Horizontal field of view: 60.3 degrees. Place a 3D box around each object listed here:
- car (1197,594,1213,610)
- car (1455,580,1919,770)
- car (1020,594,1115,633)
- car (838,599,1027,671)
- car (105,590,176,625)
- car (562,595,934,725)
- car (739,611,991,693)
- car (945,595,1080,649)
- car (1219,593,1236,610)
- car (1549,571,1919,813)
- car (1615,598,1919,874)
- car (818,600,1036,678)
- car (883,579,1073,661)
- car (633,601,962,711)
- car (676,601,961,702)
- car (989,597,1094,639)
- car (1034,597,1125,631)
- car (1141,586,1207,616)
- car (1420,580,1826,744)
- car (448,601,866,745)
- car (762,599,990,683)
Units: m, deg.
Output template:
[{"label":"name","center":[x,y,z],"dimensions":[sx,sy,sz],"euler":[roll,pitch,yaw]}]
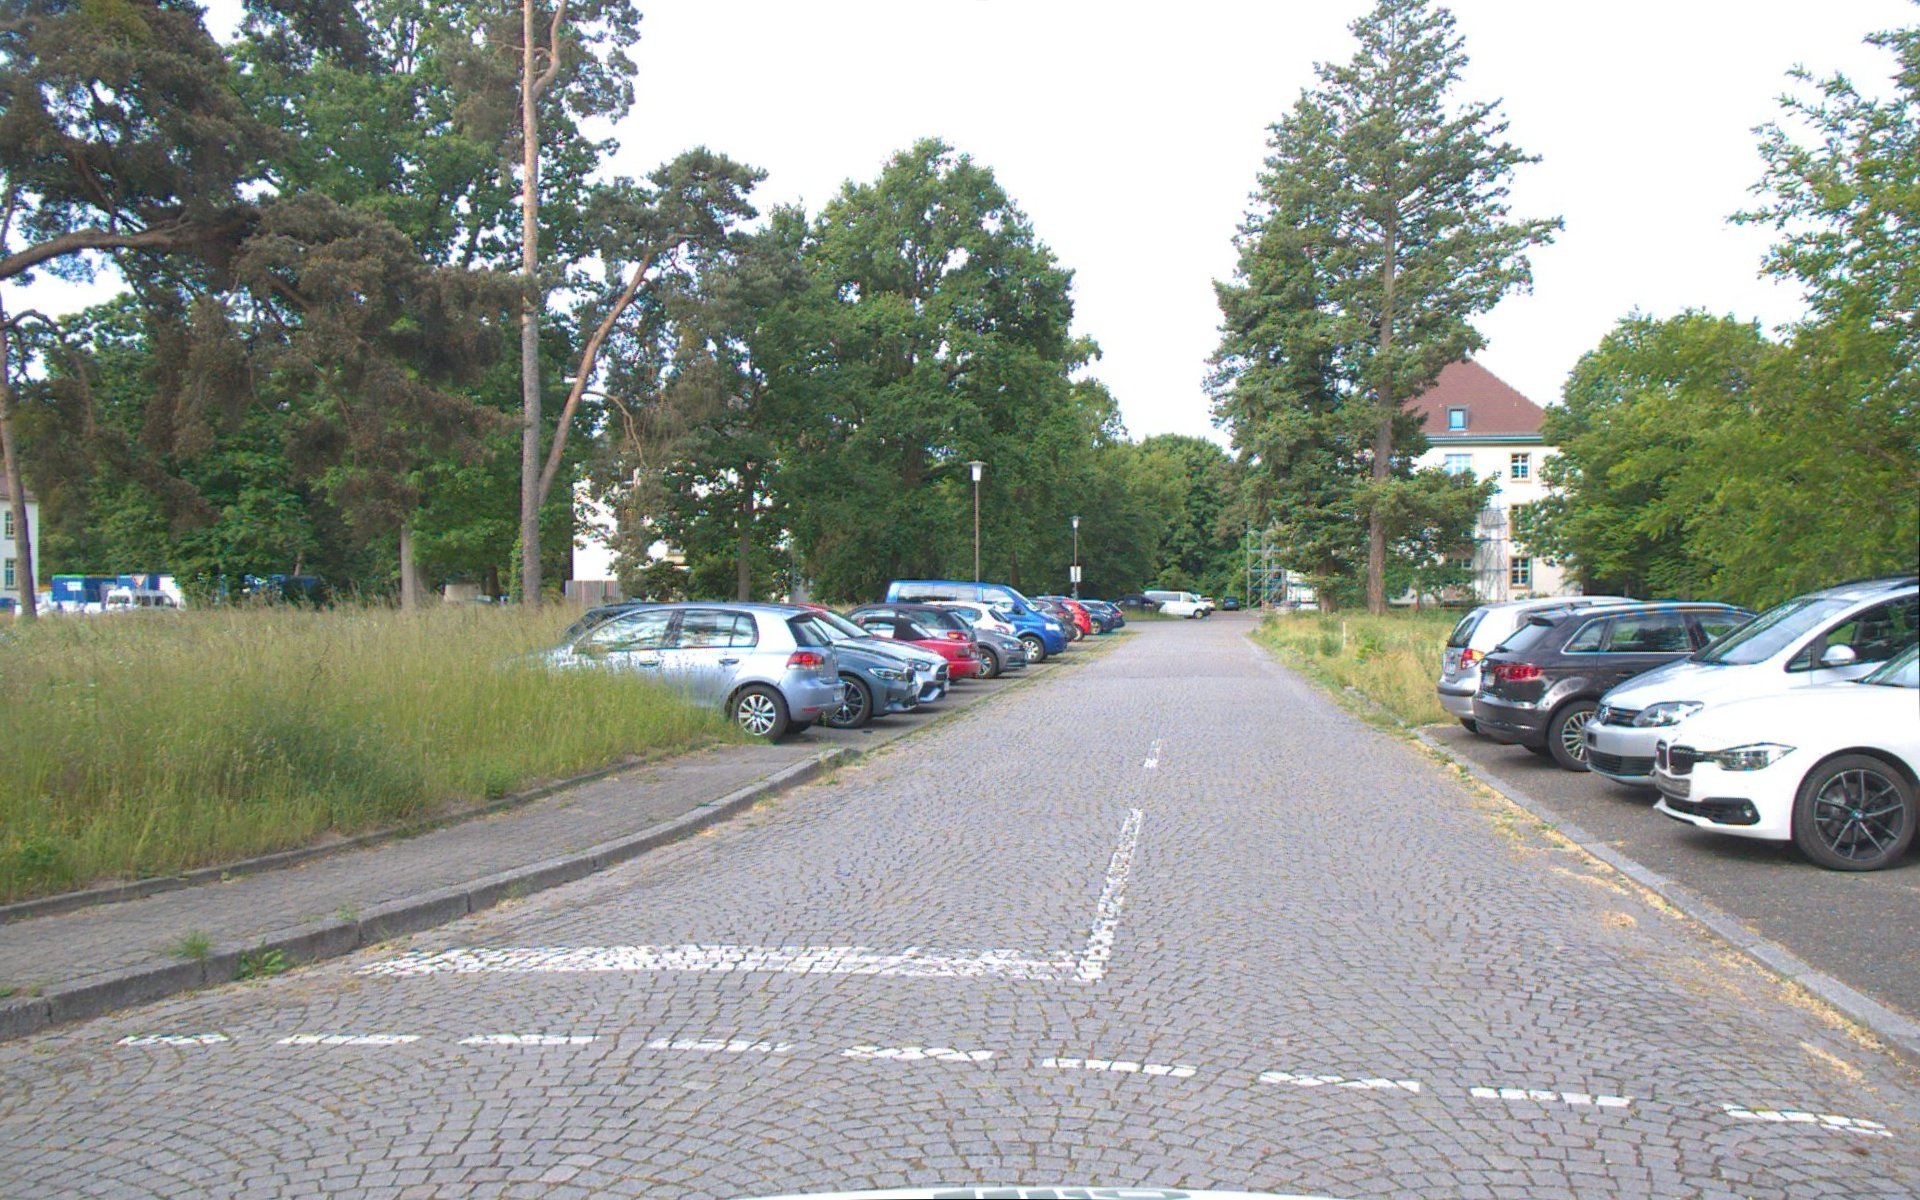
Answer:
[{"label":"car","center":[27.965,0.236,188.887],"dimensions":[1.752,1.665,4.064],"euler":[0,-1,7]},{"label":"car","center":[6.952,0.655,15.237],"dimensions":[4.273,1.430,1.798],"euler":[-3,1,7]},{"label":"car","center":[4.635,0.549,71.213],"dimensions":[3.985,1.632,1.789],"euler":[0,0,7]},{"label":"car","center":[-0.576,0.745,36.840],"dimensions":[3.919,1.528,1.844],"euler":[0,0,10]},{"label":"car","center":[-52.964,0.501,106.960],"dimensions":[2.018,2.132,4.348],"euler":[-1,-2,8]},{"label":"car","center":[-2.625,0.732,21.151],"dimensions":[4.406,1.564,1.871],"euler":[0,-1,5]},{"label":"car","center":[-1.595,0.866,28.462],"dimensions":[4.043,1.305,1.765],"euler":[0,0,8]},{"label":"car","center":[1.634,0.651,50.850],"dimensions":[3.981,1.602,1.956],"euler":[0,0,7]},{"label":"car","center":[30.552,0.179,188.833],"dimensions":[1.752,1.750,4.064],"euler":[0,-1,7]},{"label":"car","center":[6.927,0.605,12.523],"dimensions":[4.239,1.602,1.828],"euler":[-3,-1,3]},{"label":"car","center":[6.552,0.693,9.971],"dimensions":[4.454,1.450,1.828],"euler":[-3,-1,5]},{"label":"car","center":[-0.650,0.769,33.952],"dimensions":[4.212,1.506,1.732],"euler":[0,0,10]},{"label":"car","center":[0.497,0.484,42.043],"dimensions":[4.609,2.015,2.040],"euler":[0,0,8]},{"label":"car","center":[-2.279,0.769,23.816],"dimensions":[4.342,1.481,1.951],"euler":[0,-1,9]},{"label":"car","center":[-2.181,0.776,26.137],"dimensions":[4.163,1.480,1.857],"euler":[0,0,8]},{"label":"car","center":[3.021,0.649,61.081],"dimensions":[3.734,1.515,1.789],"euler":[0,0,7]},{"label":"car","center":[5.497,0.645,75.838],"dimensions":[3.984,1.493,1.627],"euler":[0,0,12]},{"label":"car","center":[16.025,0.082,123.834],"dimensions":[4.872,2.109,2.053],"euler":[1,-1,7]},{"label":"car","center":[7.074,0.639,17.952],"dimensions":[3.692,1.505,1.744],"euler":[-3,1,5]},{"label":"car","center":[-3.334,0.774,18.596],"dimensions":[4.236,1.496,1.828],"euler":[0,-1,10]},{"label":"car","center":[-1.553,0.741,31.168],"dimensions":[4.000,1.506,1.757],"euler":[0,0,9]}]
